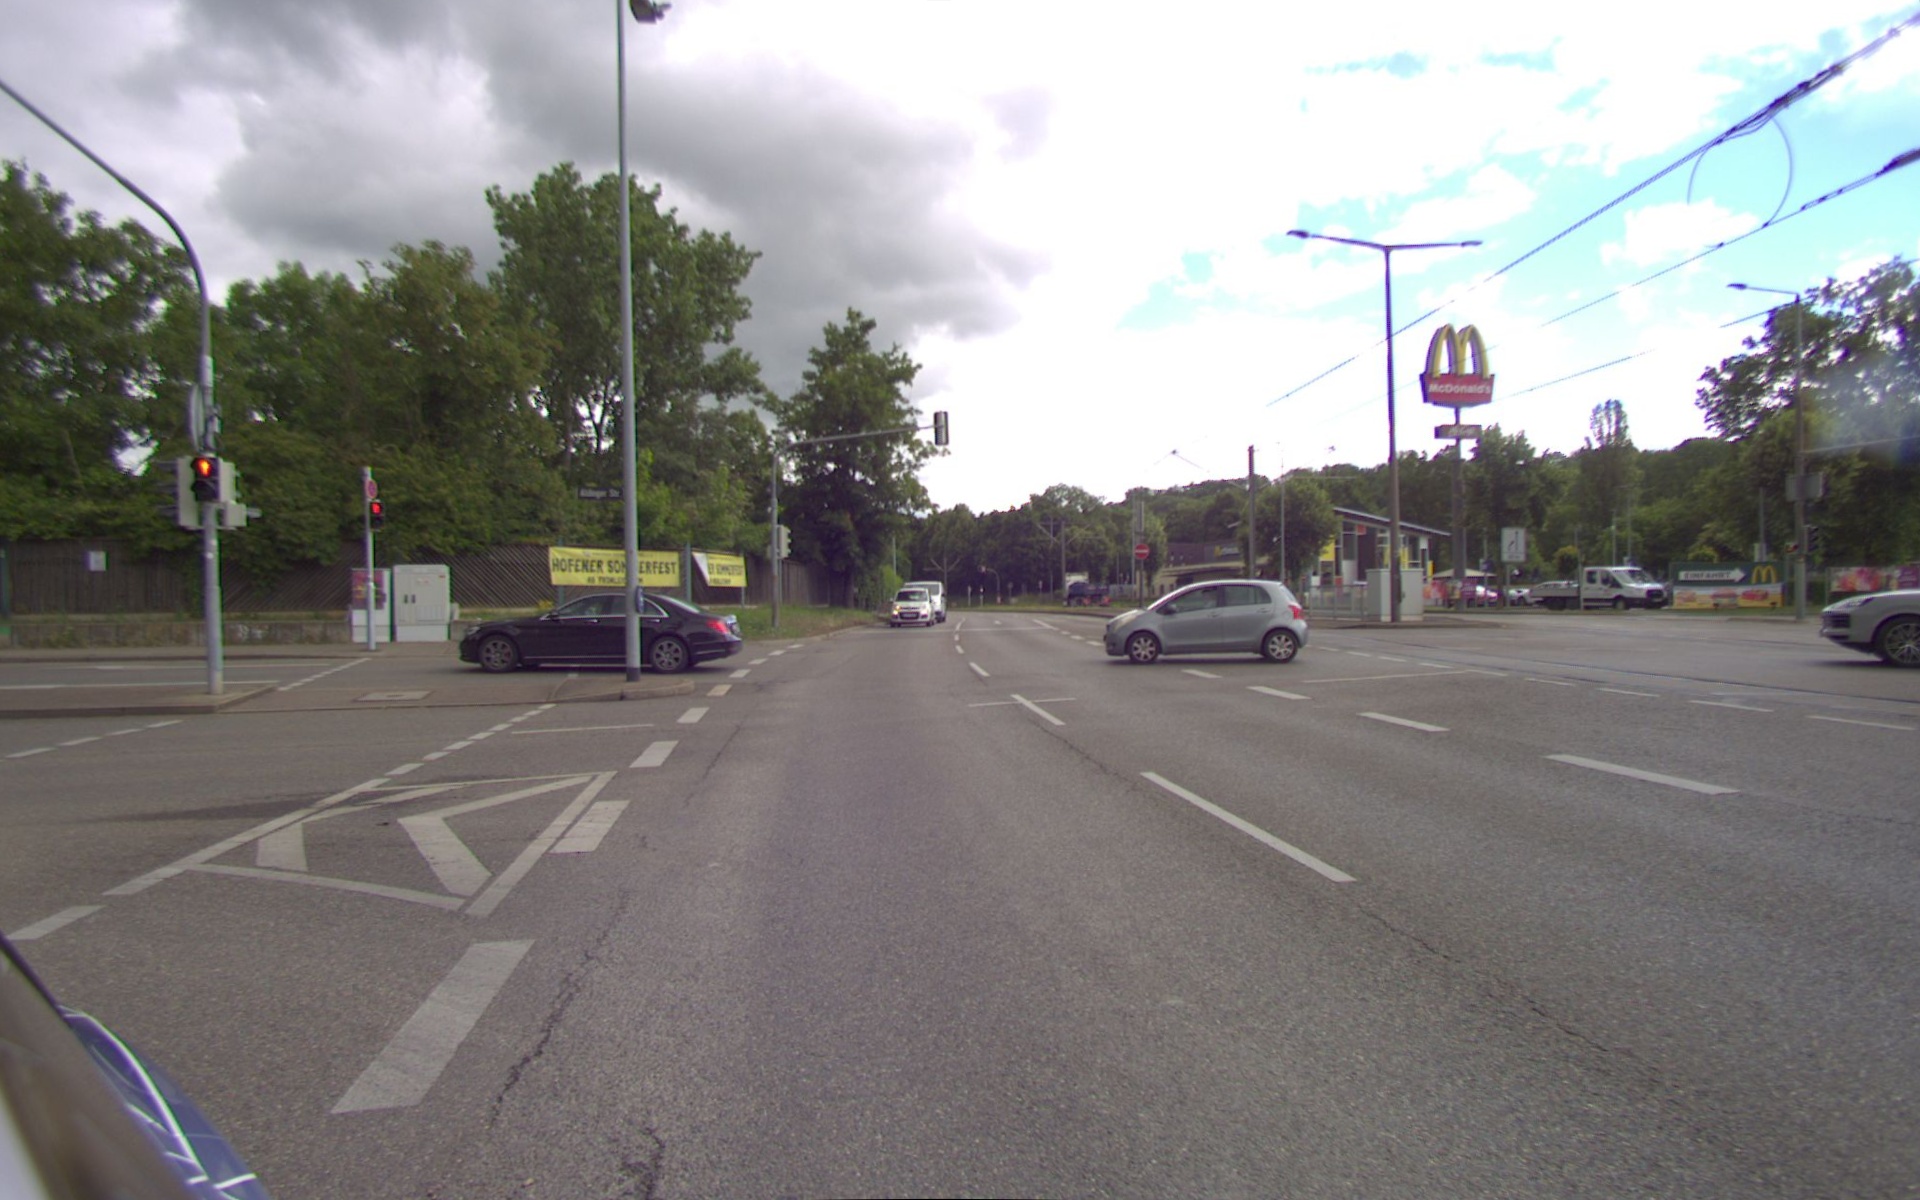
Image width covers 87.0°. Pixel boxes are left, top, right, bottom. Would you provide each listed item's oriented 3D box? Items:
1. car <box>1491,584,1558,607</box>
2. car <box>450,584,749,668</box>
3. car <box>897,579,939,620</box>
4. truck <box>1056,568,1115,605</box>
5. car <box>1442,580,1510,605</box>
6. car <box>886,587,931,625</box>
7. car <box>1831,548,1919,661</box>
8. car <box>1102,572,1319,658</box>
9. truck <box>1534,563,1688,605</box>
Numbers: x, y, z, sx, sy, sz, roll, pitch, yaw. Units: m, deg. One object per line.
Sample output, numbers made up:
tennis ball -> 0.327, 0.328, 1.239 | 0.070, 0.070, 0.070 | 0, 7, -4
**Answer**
car -> 38.032, -0.300, 68.292 | 1.753, 1.540, 4.009 | 0, 0, -10
car -> -6.550, 0.451, 18.801 | 4.921, 1.461, 1.832 | 0, 0, -2
car -> -1.925, -0.032, 47.184 | 1.785, 1.839, 4.000 | -1, 0, 0
truck -> 12.755, -1.378, 103.671 | 3.381, 3.586, 8.720 | 0, 0, -11
car -> 33.622, -0.480, 66.023 | 1.893, 1.532, 4.009 | 0, 0, -10
car -> -2.011, 0.220, 40.592 | 1.696, 1.429, 4.001 | 0, 0, -1
car -> 15.697, 0.051, 14.502 | 4.853, 1.655, 1.654 | -1, 0, 42
car -> 4.608, 0.271, 18.938 | 3.749, 1.499, 1.670 | -1, 0, 12
truck -> 31.196, -0.746, 48.805 | 2.558, 1.919, 6.214 | 0, 0, -12
